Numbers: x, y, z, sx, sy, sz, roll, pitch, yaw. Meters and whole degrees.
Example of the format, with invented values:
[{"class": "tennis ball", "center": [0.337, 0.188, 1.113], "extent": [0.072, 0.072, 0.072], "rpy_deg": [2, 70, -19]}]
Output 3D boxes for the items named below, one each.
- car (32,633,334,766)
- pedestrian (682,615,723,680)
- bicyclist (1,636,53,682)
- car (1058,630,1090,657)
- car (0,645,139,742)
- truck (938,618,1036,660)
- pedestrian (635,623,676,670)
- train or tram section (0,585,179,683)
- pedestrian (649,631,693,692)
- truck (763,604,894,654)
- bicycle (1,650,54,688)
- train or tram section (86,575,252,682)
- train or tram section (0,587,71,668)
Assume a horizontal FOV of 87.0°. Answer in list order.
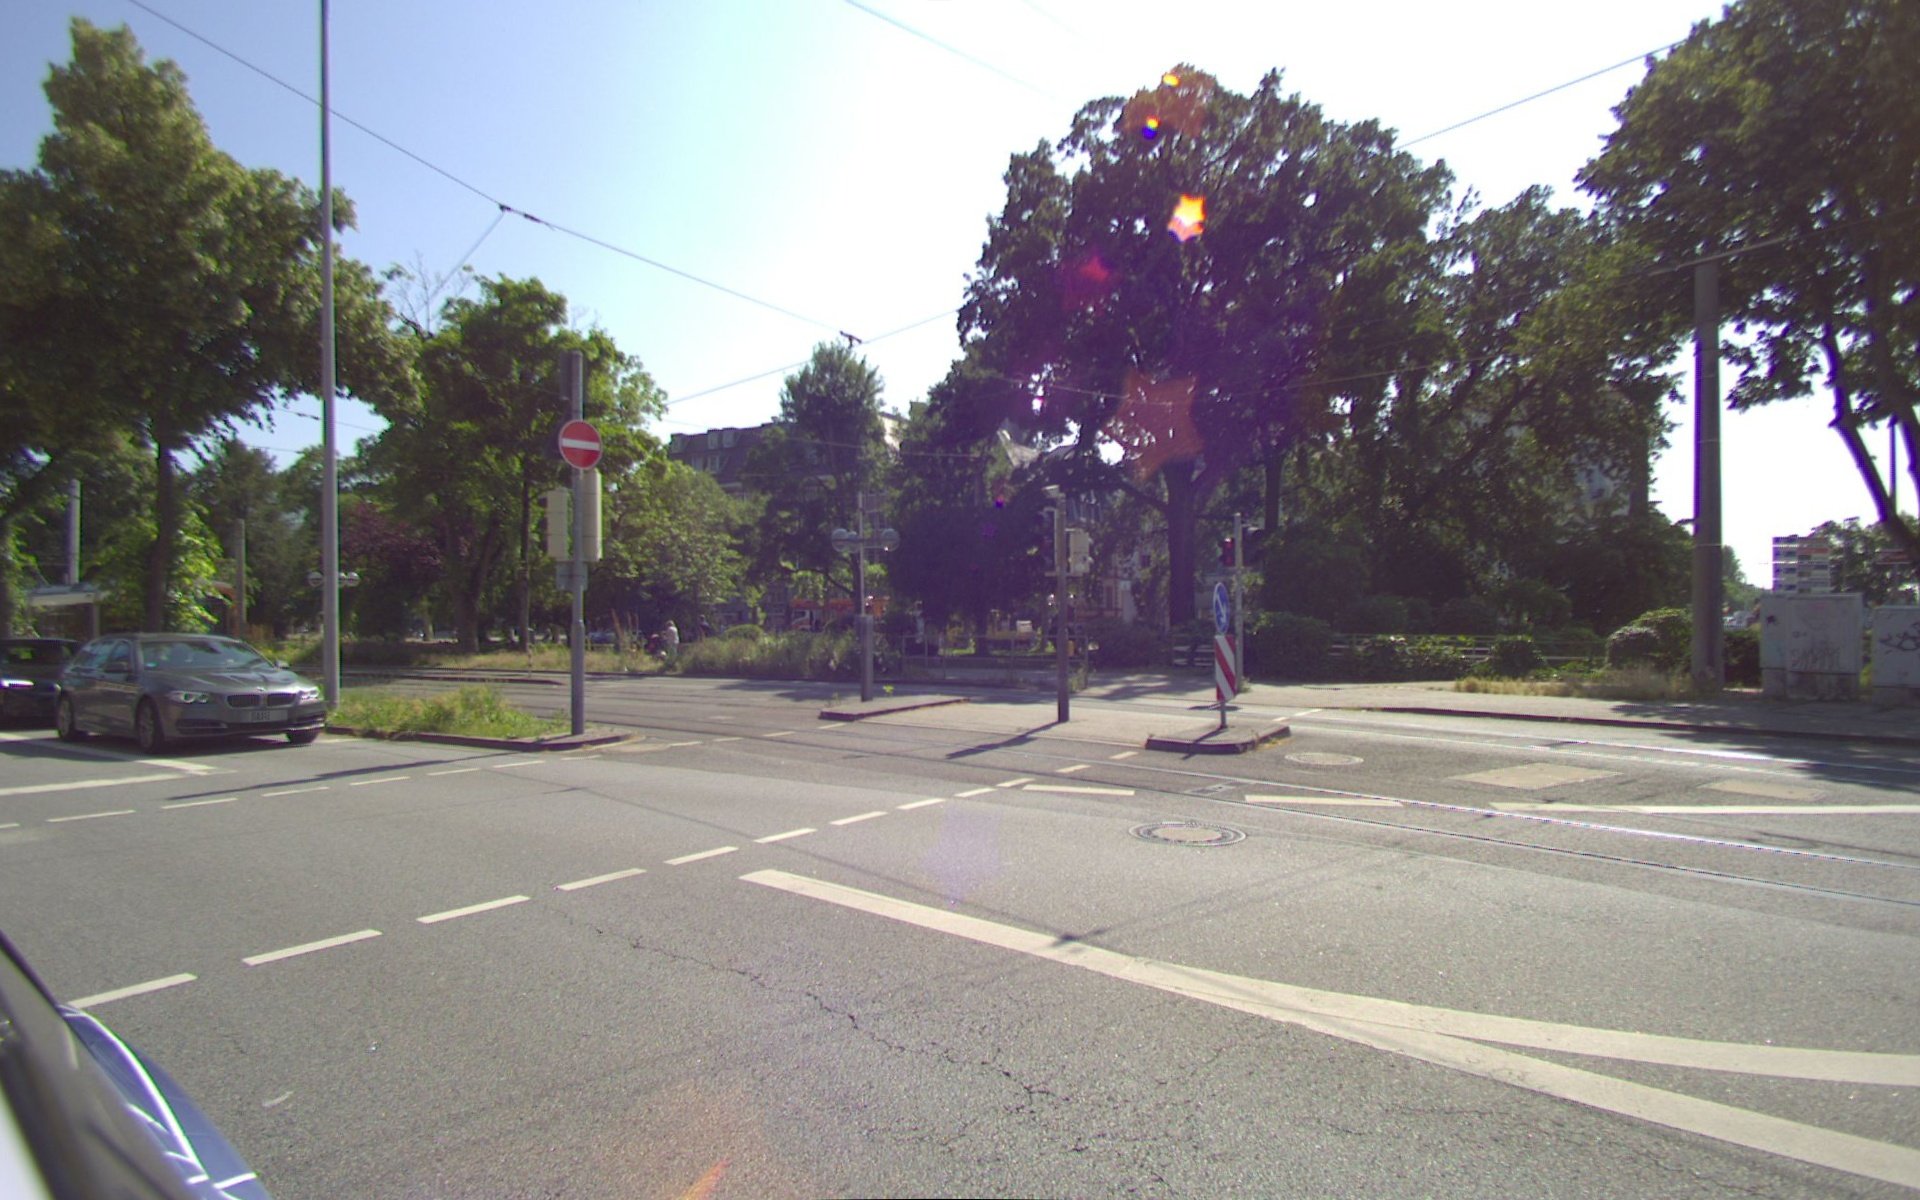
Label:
[{"class": "car", "center": [-10.428, 1.231, 13.477], "extent": [4.734, 1.497, 1.733], "rpy_deg": [-2, -3, 34]}, {"class": "pedestrian", "center": [-8.783, 1.610, 34.521], "extent": [0.801, 2.167, 1.112], "rpy_deg": [-2, -3, 40]}, {"class": "bicyclist", "center": [-29.240, 1.846, 31.705], "extent": [1.229, 1.404, 0.903], "rpy_deg": [-2, -2, 33]}, {"class": "car", "center": [8.917, 3.360, 78.782], "extent": [1.979, 2.029, 4.539], "rpy_deg": [-1, -1, 12]}, {"class": "car", "center": [-15.519, 1.465, 16.869], "extent": [3.990, 1.422, 1.778], "rpy_deg": [-2, -2, 34]}, {"class": "truck", "center": [2.139, 3.122, 81.058], "extent": [7.620, 3.240, 2.442], "rpy_deg": [-2, -2, 29]}, {"class": "pedestrian", "center": [-10.598, 1.612, 35.271], "extent": [0.933, 1.632, 1.025], "rpy_deg": [-2, -3, 40]}, {"class": "train or tram section", "center": [-34.992, 1.401, 40.076], "extent": [12.379, 3.429, 2.737], "rpy_deg": [-2, -2, 34]}, {"class": "pedestrian", "center": [-9.876, 2.098, 34.611], "extent": [0.801, 2.029, 1.209], "rpy_deg": [-2, -3, 40]}, {"class": "truck", "center": [-11.774, 2.634, 90.057], "extent": [11.756, 4.295, 3.598], "rpy_deg": [-2, -2, 28]}, {"class": "bicycle", "center": [-29.181, 2.132, 31.652], "extent": [2.489, 1.091, 0.636], "rpy_deg": [-1, -1, 33]}, {"class": "train or tram section", "center": [-27.430, 1.014, 35.052], "extent": [5.868, 3.429, 2.738], "rpy_deg": [-2, -2, 33]}, {"class": "train or tram section", "center": [-45.289, 1.364, 47.119], "extent": [12.376, 3.429, 2.737], "rpy_deg": [-2, -2, 34]}]
